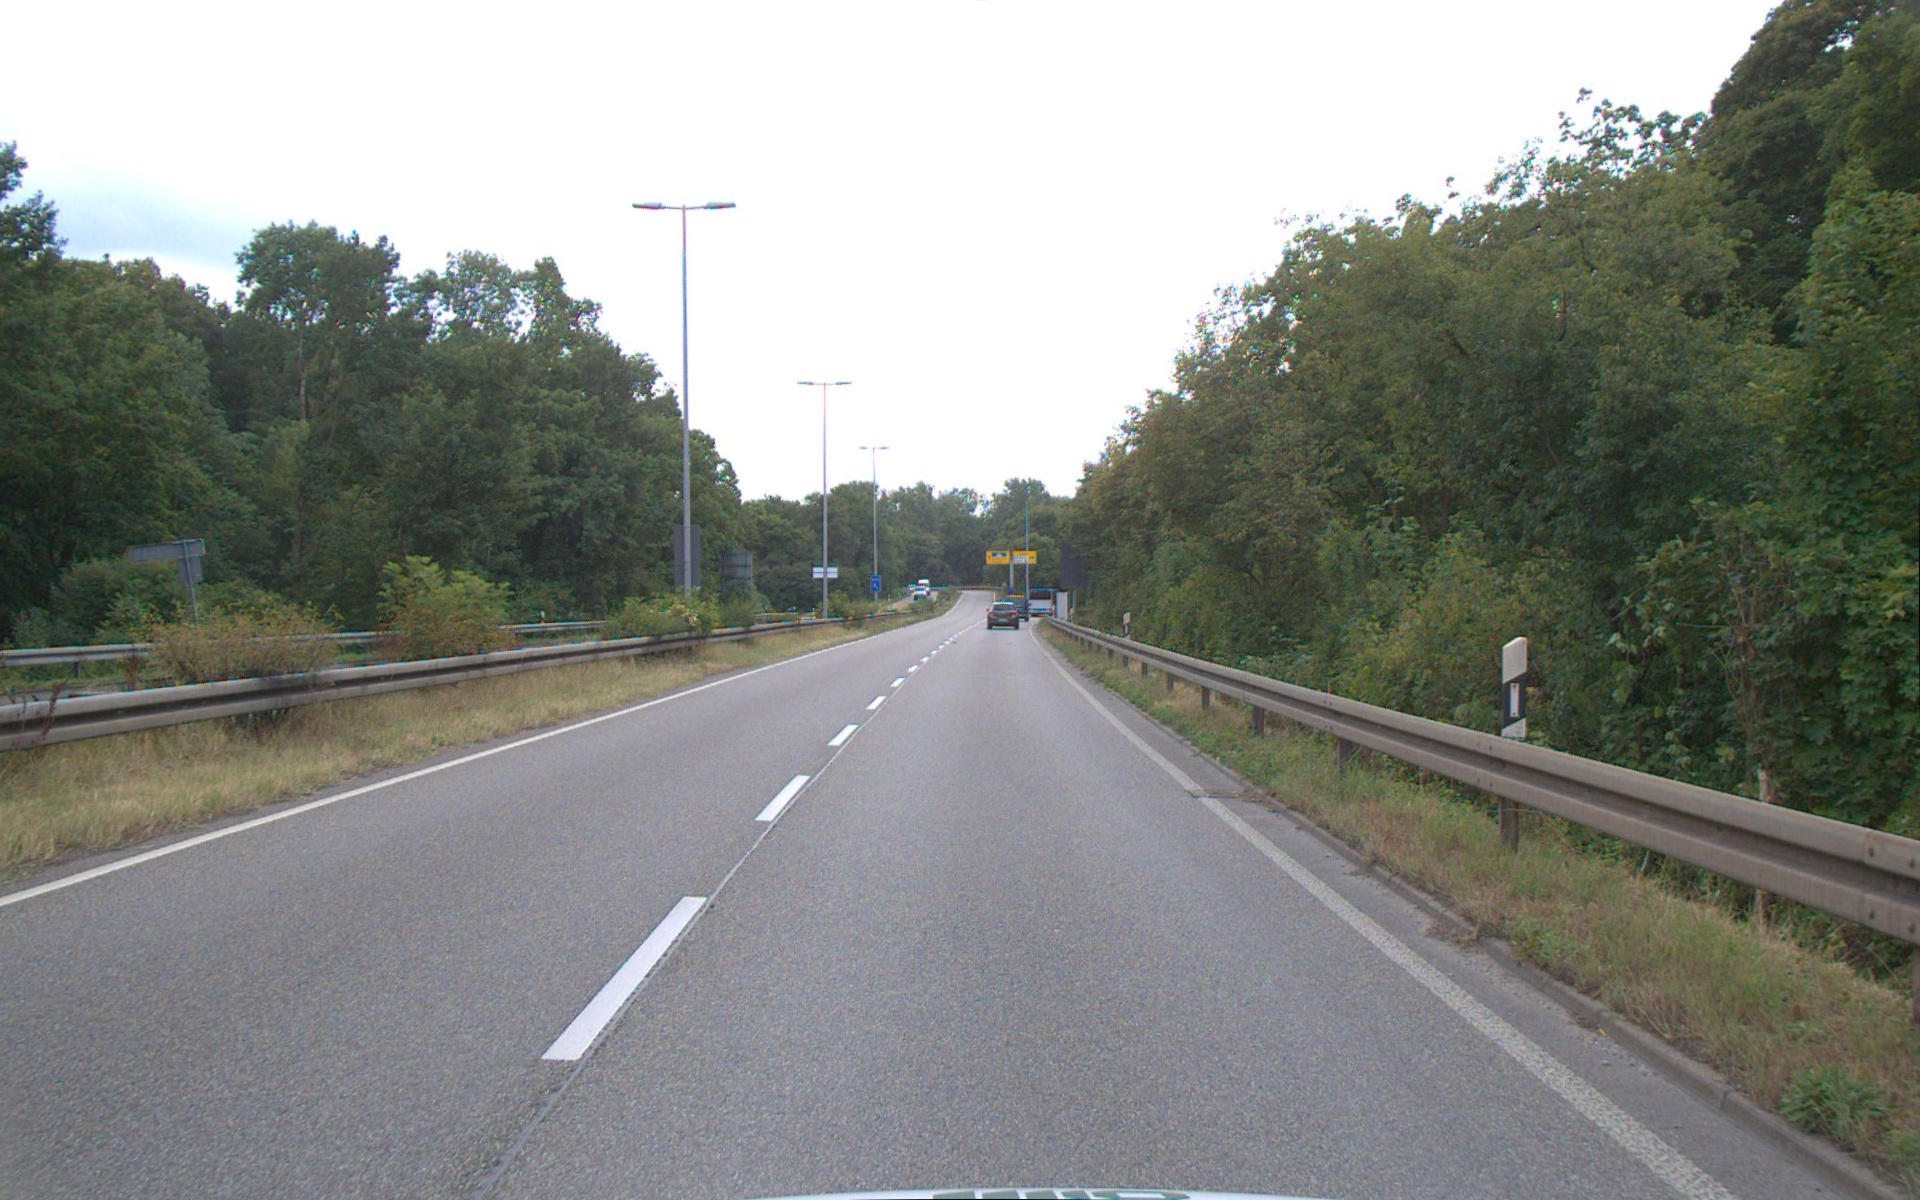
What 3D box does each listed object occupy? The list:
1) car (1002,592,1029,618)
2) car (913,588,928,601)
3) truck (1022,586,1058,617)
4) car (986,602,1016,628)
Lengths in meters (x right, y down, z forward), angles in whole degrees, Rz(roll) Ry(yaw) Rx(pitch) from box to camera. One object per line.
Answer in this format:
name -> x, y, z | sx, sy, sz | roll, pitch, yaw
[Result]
car -> 4.402, 0.417, 130.964 | 2.103, 2.049, 4.001 | 0, -1, 3
car -> -5.882, -0.806, 245.719 | 1.952, 1.879, 4.002 | 0, 1, 3
truck -> 8.216, 0.190, 168.987 | 2.917, 2.936, 7.996 | 0, -1, 9
car -> 2.322, 0.855, 92.159 | 1.591, 1.402, 4.001 | 0, -1, 3
